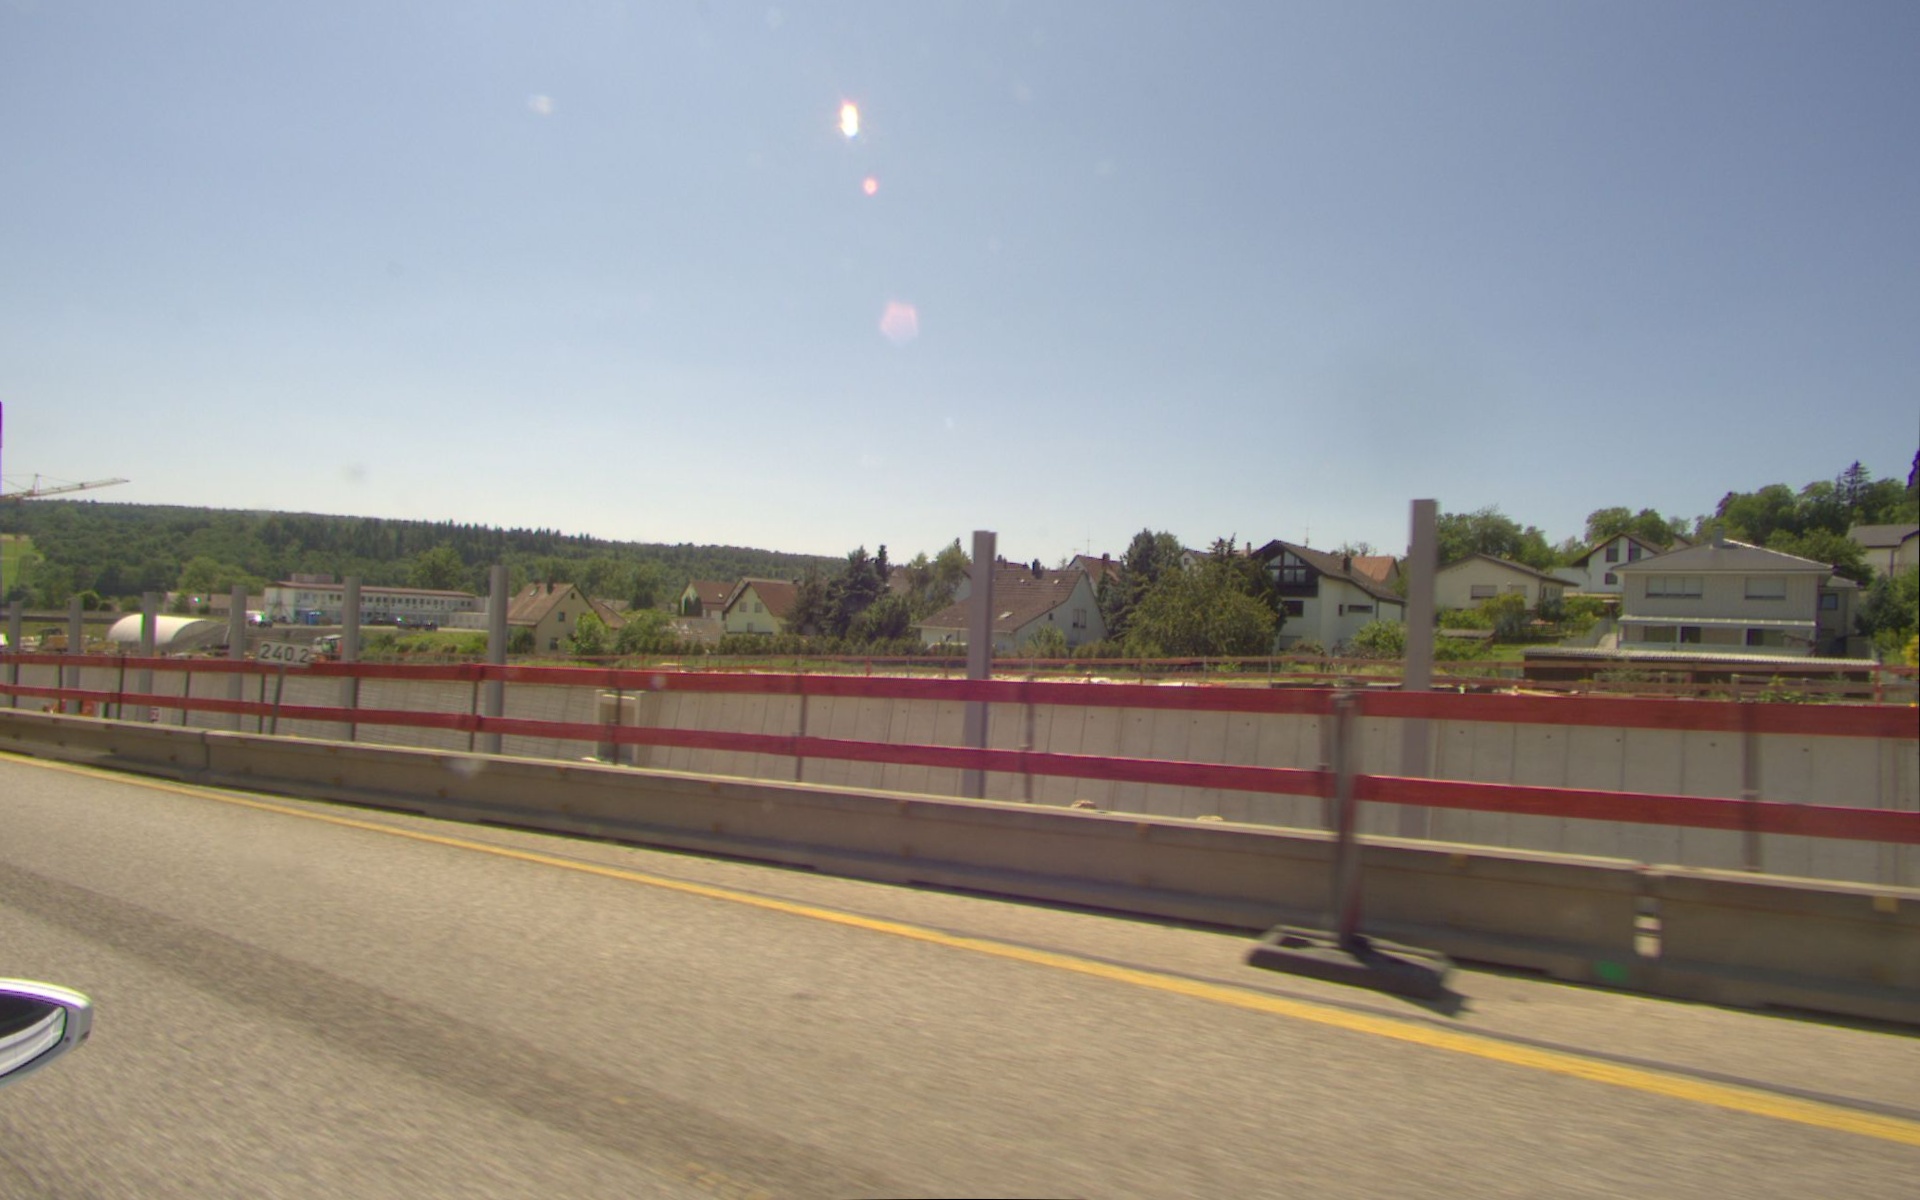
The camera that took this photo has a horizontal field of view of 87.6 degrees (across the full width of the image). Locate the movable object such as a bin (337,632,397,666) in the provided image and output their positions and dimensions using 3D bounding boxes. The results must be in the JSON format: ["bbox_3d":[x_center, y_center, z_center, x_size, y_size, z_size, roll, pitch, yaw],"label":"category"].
[{"bbox_3d":[-41.116,3.357,69.430,4.093,2.267,1.990,-1,-2,33],"label":"movable object such as a bin"}]

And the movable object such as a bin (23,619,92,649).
[{"bbox_3d":[-91.818,3.446,101.867,9.345,2.946,2.882,-1,-2,33],"label":"movable object such as a bin"}]

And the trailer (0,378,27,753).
[{"bbox_3d":[-17.031,-0.248,13.635,13.914,4.110,2.797,-1,-1,32],"label":"trailer"}]
